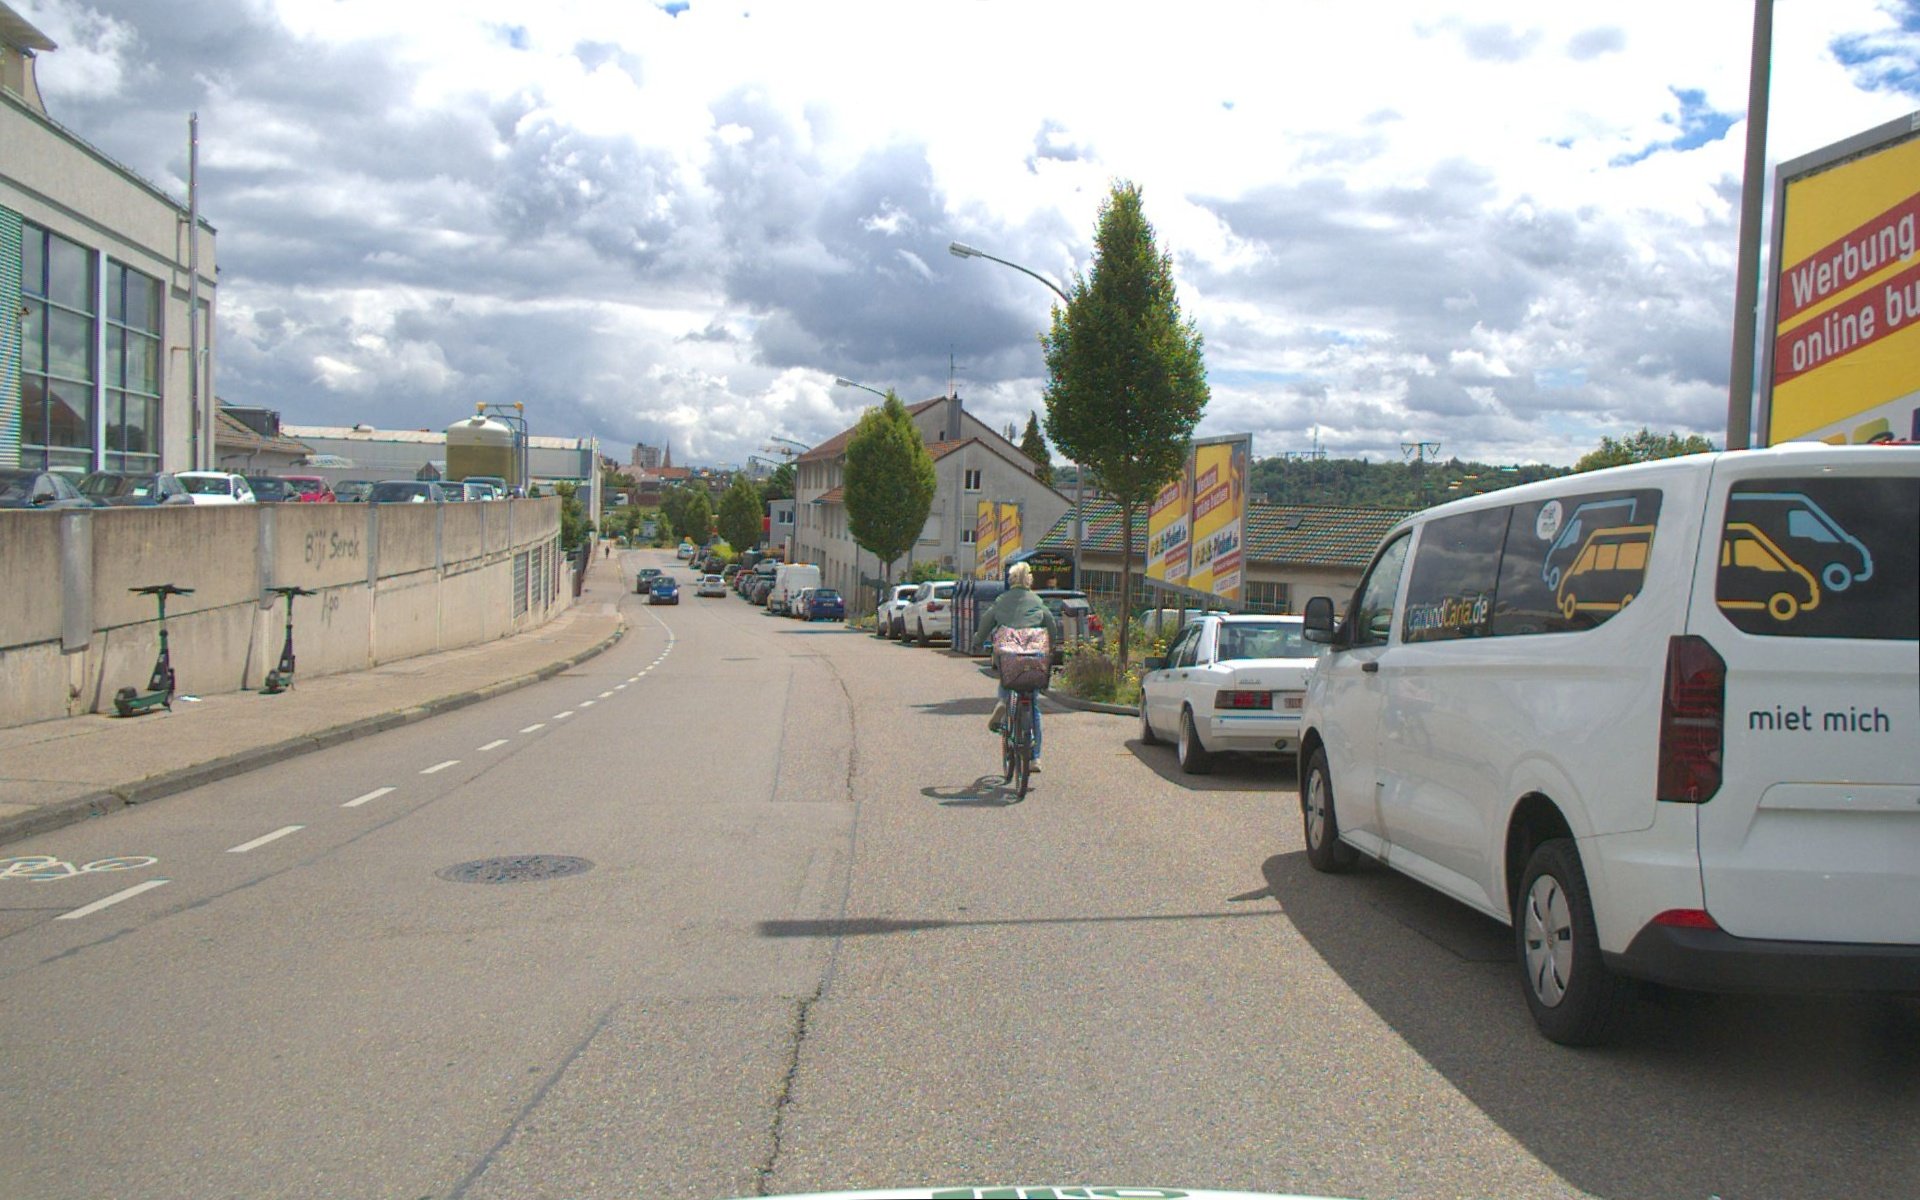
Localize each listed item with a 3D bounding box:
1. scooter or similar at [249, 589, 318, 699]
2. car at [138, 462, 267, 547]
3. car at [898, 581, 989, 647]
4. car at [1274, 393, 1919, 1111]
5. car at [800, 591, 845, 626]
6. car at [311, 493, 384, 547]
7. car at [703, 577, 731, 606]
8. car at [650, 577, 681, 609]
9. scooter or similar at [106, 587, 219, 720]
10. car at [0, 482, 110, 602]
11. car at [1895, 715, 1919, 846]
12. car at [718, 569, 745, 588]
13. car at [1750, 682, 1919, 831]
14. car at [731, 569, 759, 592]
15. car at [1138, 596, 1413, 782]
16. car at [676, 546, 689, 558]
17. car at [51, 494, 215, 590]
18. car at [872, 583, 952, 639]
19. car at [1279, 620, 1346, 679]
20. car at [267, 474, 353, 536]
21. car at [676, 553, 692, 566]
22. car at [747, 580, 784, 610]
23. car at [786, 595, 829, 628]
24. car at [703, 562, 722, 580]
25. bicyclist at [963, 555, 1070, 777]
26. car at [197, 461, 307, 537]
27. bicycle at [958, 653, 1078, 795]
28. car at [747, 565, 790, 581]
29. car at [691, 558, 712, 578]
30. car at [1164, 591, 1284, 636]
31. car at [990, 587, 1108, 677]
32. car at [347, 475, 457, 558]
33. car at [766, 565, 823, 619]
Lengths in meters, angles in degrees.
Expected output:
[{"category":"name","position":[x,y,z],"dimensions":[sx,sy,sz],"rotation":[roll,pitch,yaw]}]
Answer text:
[{"category":"scooter or similar","position":[-8.423,0.526,20.633],"dimensions":[0.510,1.298,1.379],"rotation":[3,-1,-13]},{"category":"car","position":[-17.175,-2.123,37.682],"dimensions":[1.774,1.665,4.101],"rotation":[1,0,-12]},{"category":"car","position":[-0.494,0.362,44.593],"dimensions":[1.655,1.688,4.468],"rotation":[1,0,-11]},{"category":"car","position":[2.978,0.435,7.519],"dimensions":[1.935,2.039,5.546],"rotation":[1,0,-1]},{"category":"car","position":[-6.382,0.379,76.281],"dimensions":[1.539,1.536,4.081],"rotation":[1,0,-12]},{"category":"car","position":[-21.487,-2.775,58.126],"dimensions":[1.774,1.665,4.101],"rotation":[1,0,-12]},{"category":"car","position":[-16.125,-0.574,109.554],"dimensions":[1.539,1.817,3.594],"rotation":[1,0,-12]},{"category":"car","position":[-17.547,-0.431,98.365],"dimensions":[1.599,1.849,3.766],"rotation":[0,0,-14]},{"category":"scooter or similar","position":[-8.105,0.525,16.858],"dimensions":[0.546,1.298,1.305],"rotation":[1,0,-3]},{"category":"car","position":[-14.444,-0.833,24.991],"dimensions":[1.774,1.665,4.101],"rotation":[1,0,-12]},{"category":"car","position":[12.667,2.082,18.121],"dimensions":[3.902,1.406,1.666],"rotation":[1,0,14]},{"category":"car","position":[-18.816,-1.788,136.276],"dimensions":[1.760,1.491,4.693],"rotation":[1,1,-13]},{"category":"car","position":[12.163,1.951,20.632],"dimensions":[3.902,1.664,1.718],"rotation":[1,0,15]},{"category":"car","position":[-15.635,-1.417,120.236],"dimensions":[1.704,1.498,4.250],"rotation":[2,2,-12]},{"category":"car","position":[2.720,0.701,15.178],"dimensions":[1.604,1.411,4.203],"rotation":[1,0,-1]},{"category":"car","position":[-38.688,-6.719,230.294],"dimensions":[1.670,1.554,3.729],"rotation":[2,2,-11]},{"category":"car","position":[-15.758,-1.045,31.729],"dimensions":[1.774,1.665,4.101],"rotation":[1,0,-12]},{"category":"car","position":[-1.510,0.314,50.350],"dimensions":[1.808,1.592,4.455],"rotation":[0,0,-10]},{"category":"car","position":[11.424,1.563,53.817],"dimensions":[1.712,1.714,4.683],"rotation":[0,1,7]},{"category":"car","position":[-19.955,-2.885,50.942],"dimensions":[1.774,1.665,4.101],"rotation":[1,0,-12]},{"category":"car","position":[-36.635,-5.421,219.717],"dimensions":[1.673,1.554,3.723],"rotation":[4,1,-16]},{"category":"car","position":[-12.162,-0.323,103.085],"dimensions":[1.675,1.536,5.072],"rotation":[3,2,-13]},{"category":"car","position":[-7.490,0.555,81.168],"dimensions":[1.565,1.536,3.777],"rotation":[1,0,-13]},{"category":"car","position":[-24.322,-2.859,162.273],"dimensions":[1.649,1.666,4.113],"rotation":[1,1,-10]},{"category":"bicyclist","position":[0.427,0.496,12.824],"dimensions":[0.725,1.655,0.731],"rotation":[1,0,-4]},{"category":"car","position":[-18.142,-2.548,42.560],"dimensions":[1.774,1.665,4.101],"rotation":[1,0,-12]},{"category":"bicycle","position":[0.419,0.924,12.818],"dimensions":[0.725,0.992,1.730],"rotation":[1,-2,-4]},{"category":"car","position":[-18.210,-2.550,156.986],"dimensions":[3.999,1.488,1.717],"rotation":[1,3,40]},{"category":"car","position":[-27.639,-3.386,176.690],"dimensions":[1.836,2.024,5.129],"rotation":[1,1,-12]},{"category":"car","position":[9.634,0.473,60.535],"dimensions":[3.966,1.414,1.736],"rotation":[4,3,38]},{"category":"car","position":[1.545,0.543,30.108],"dimensions":[1.623,1.511,4.041],"rotation":[0,0,-5]},{"category":"car","position":[-12.722,-1.860,37.938],"dimensions":[1.773,1.665,4.094],"rotation":[1,0,-11]},{"category":"car","position":[-8.760,-0.434,87.043],"dimensions":[1.998,2.687,7.258],"rotation":[1,0,-13]}]
